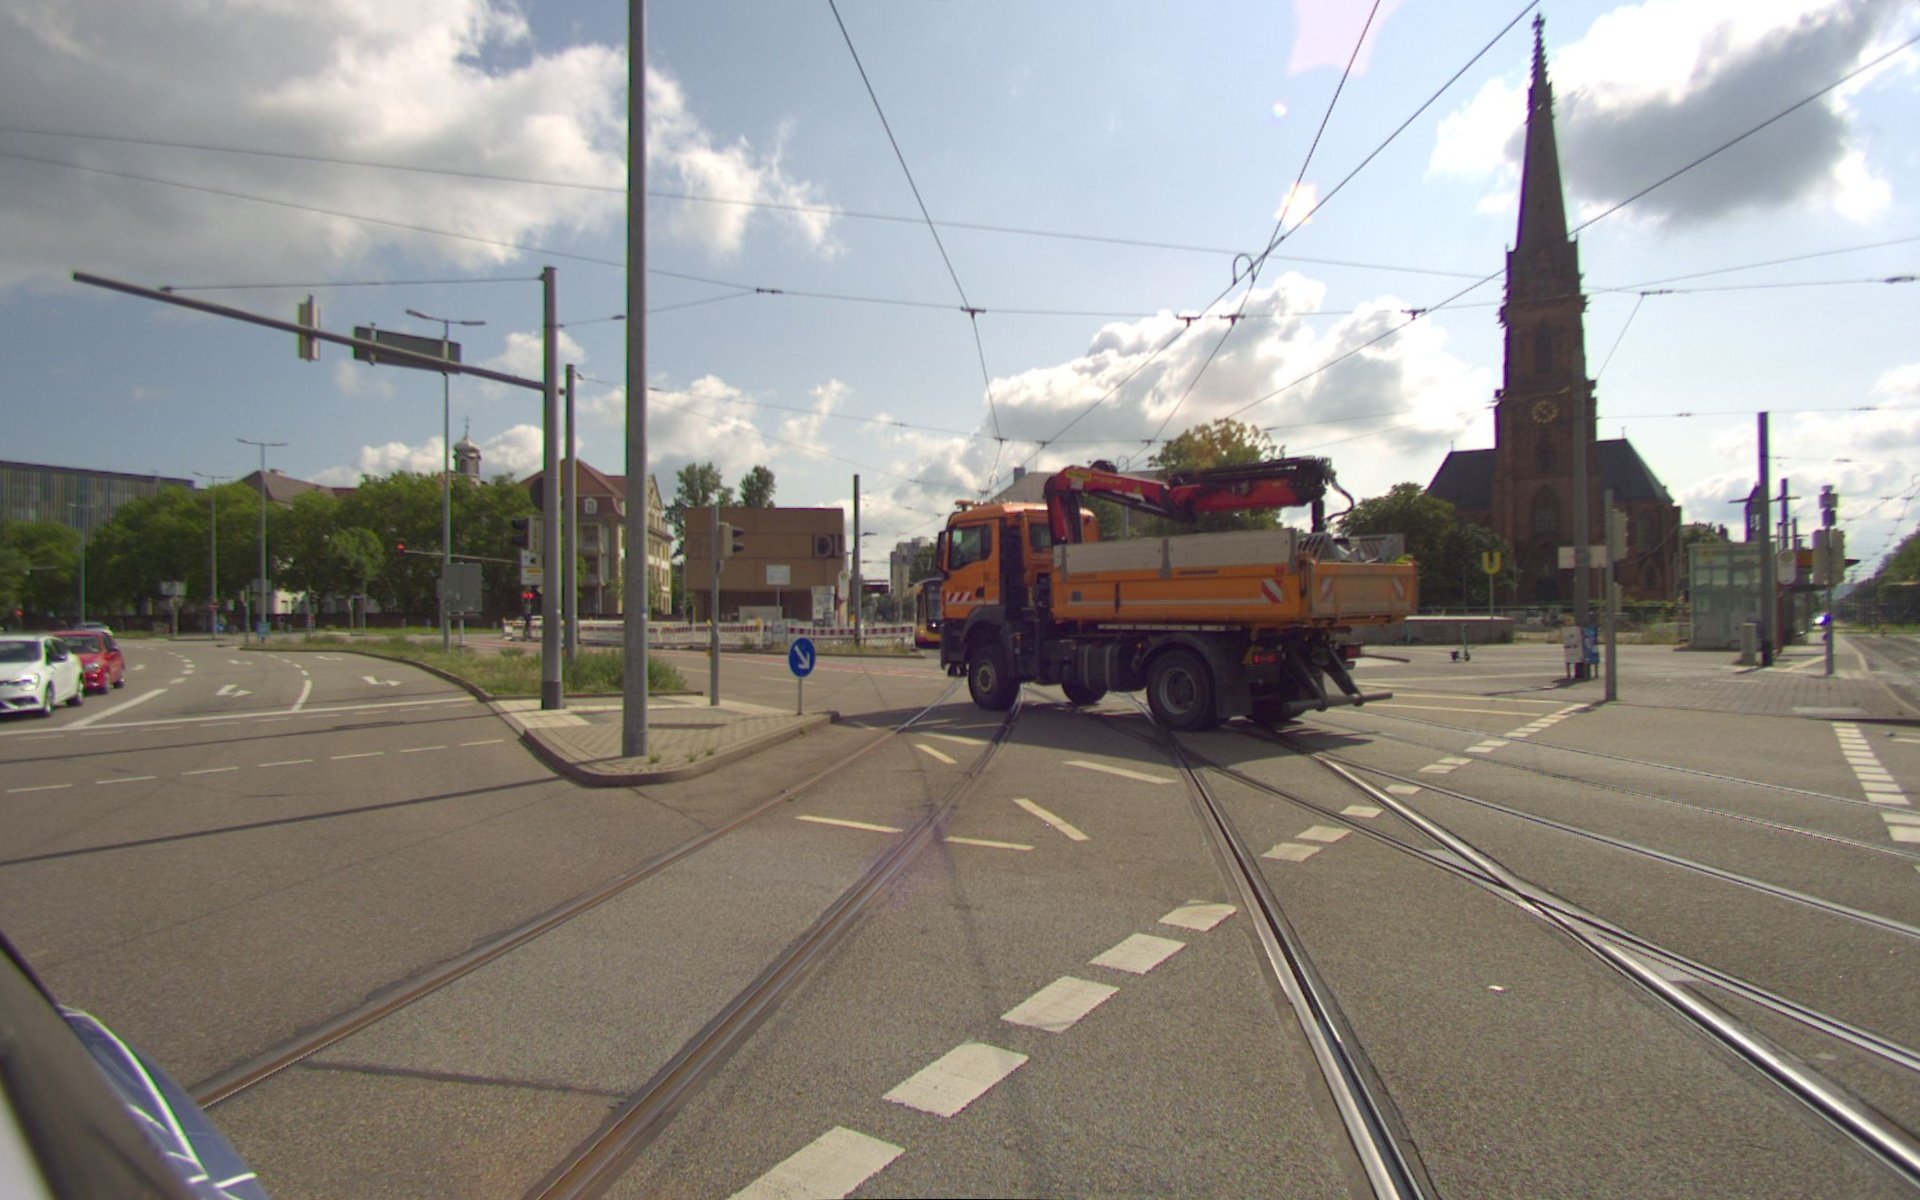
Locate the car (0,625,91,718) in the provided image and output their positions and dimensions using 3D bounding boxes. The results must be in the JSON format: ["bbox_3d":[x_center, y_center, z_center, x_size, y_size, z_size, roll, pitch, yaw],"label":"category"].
[{"bbox_3d":[-17.334,1.246,18.301,1.733,1.440,4.688,-2,1,-32],"label":"car"}]

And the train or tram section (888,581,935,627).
[{"bbox_3d":[-4.192,0.265,85.189,3.273,3.507,10.622,-2,0,-6],"label":"train or tram section"}]

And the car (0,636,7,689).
[{"bbox_3d":[-25.770,1.704,25.832,1.562,1.395,4.088,-2,0,-36],"label":"car"}]

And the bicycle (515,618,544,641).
[{"bbox_3d":[-26.902,1.834,63.272,0.958,1.421,2.296,1,-2,-42],"label":"bicycle"}]

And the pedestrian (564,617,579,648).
[{"bbox_3d":[-22.750,1.917,59.270,0.642,1.777,1.004,0,-2,-34],"label":"pedestrian"}]

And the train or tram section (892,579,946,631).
[{"bbox_3d":[-3.156,0.316,74.633,3.273,3.507,10.622,-2,0,-6],"label":"train or tram section"}]

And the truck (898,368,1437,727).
[{"bbox_3d":[2.541,-0.500,15.399,2.792,4.039,8.086,1,-2,-39],"label":"truck"}]

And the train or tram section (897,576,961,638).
[{"bbox_3d":[-2.116,0.366,64.069,3.273,3.507,10.622,-2,0,-6],"label":"train or tram section"}]

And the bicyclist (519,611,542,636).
[{"bbox_3d":[-26.889,1.460,63.300,0.766,1.575,1.777,1,-2,-43],"label":"bicyclist"}]

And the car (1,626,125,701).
[{"bbox_3d":[-20.786,1.399,23.602,1.619,1.478,4.075,-2,0,-34],"label":"car"}]

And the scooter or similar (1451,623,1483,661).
[{"bbox_3d":[16.067,1.331,32.046,0.810,1.175,1.156,-1,-2,31],"label":"scooter or similar"}]

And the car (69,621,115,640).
[{"bbox_3d":[-71.796,2.497,83.704,3.986,1.537,1.812,-1,-1,32],"label":"car"}]

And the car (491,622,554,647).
[{"bbox_3d":[-32.210,2.514,74.632,3.933,1.796,2.005,0,-1,-13],"label":"car"}]

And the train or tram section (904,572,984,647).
[{"bbox_3d":[-1.038,0.416,53.466,3.273,3.507,10.622,-2,0,-6],"label":"train or tram section"}]
